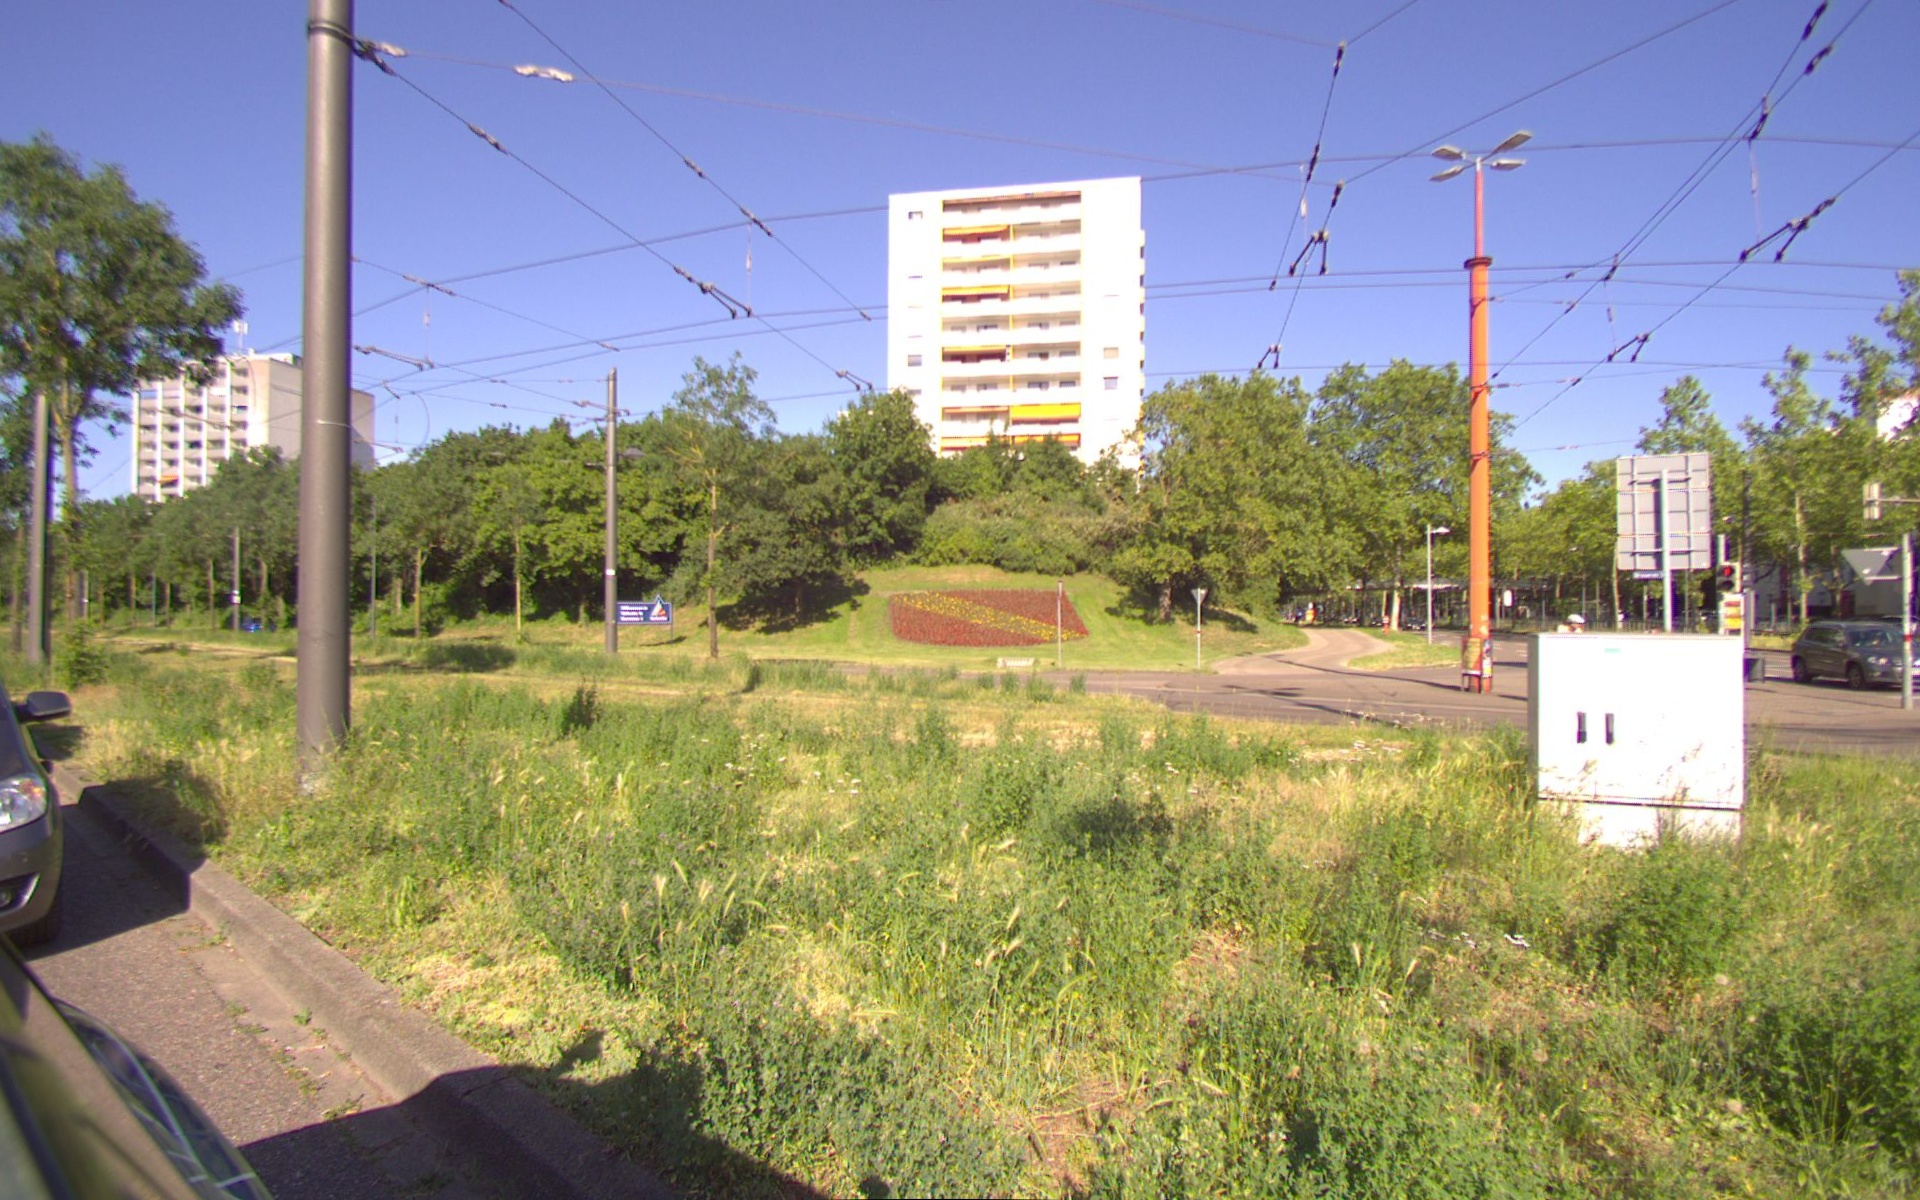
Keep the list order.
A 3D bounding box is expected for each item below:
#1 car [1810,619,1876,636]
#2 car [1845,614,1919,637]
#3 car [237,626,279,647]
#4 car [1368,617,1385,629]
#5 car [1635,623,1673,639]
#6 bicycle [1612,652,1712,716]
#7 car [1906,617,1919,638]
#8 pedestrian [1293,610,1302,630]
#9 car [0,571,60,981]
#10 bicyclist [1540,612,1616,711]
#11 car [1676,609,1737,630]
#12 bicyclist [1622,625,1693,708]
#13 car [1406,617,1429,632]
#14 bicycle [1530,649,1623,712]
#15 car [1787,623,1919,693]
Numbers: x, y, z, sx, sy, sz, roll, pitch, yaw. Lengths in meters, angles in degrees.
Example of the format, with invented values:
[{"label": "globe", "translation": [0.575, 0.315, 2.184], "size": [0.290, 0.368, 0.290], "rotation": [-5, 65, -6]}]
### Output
[{"label": "car", "translation": [64.403, 1.980, 73.847], "size": [1.425, 1.197, 3.423], "rotation": [-1, 0, -41]}, {"label": "car", "translation": [63.799, 1.734, 69.996], "size": [1.589, 1.471, 3.656], "rotation": [-1, 0, -38]}, {"label": "car", "translation": [-49.377, 2.569, 71.140], "size": [3.908, 1.431, 1.557], "rotation": [-2, -1, 42]}, {"label": "car", "translation": [54.853, 2.989, 133.217], "size": [1.904, 1.507, 3.973], "rotation": [-1, 0, 20]}, {"label": "car", "translation": [67.560, 3.058, 98.573], "size": [1.822, 1.514, 3.930], "rotation": [0, -2, 15]}, {"label": "bicycle", "translation": [13.502, 1.592, 19.537], "size": [0.571, 1.079, 1.916], "rotation": [-1, 0, 0]}, {"label": "car", "translation": [63.684, 1.768, 65.163], "size": [1.472, 1.341, 3.746], "rotation": [-1, 0, -27]}, {"label": "pedestrian", "translation": [27.545, 1.634, 82.617], "size": [0.681, 1.568, 0.984], "rotation": [-1, -2, 20]}, {"label": "car", "translation": [-5.826, 0.751, 4.890], "size": [3.998, 1.652, 1.726], "rotation": [-1, 0, 41]}, {"label": "bicyclist", "translation": [12.113, 1.189, 19.873], "size": [0.880, 1.881, 0.924], "rotation": [-1, 0, -2]}, {"label": "car", "translation": [72.140, 1.929, 97.873], "size": [1.909, 1.999, 4.350], "rotation": [1, -2, -38]}, {"label": "bicyclist", "translation": [13.490, 1.262, 19.587], "size": [0.710, 1.536, 0.924], "rotation": [-1, 0, 0]}, {"label": "car", "translation": [46.643, 2.501, 103.245], "size": [1.905, 1.507, 3.971], "rotation": [-1, -1, 21]}, {"label": "bicycle", "translation": [12.067, 1.545, 19.890], "size": [0.571, 1.079, 1.917], "rotation": [-1, 0, -3]}, {"label": "car", "translation": [23.014, 1.388, 25.418], "size": [1.900, 1.507, 4.026], "rotation": [-1, 0, 15]}]
